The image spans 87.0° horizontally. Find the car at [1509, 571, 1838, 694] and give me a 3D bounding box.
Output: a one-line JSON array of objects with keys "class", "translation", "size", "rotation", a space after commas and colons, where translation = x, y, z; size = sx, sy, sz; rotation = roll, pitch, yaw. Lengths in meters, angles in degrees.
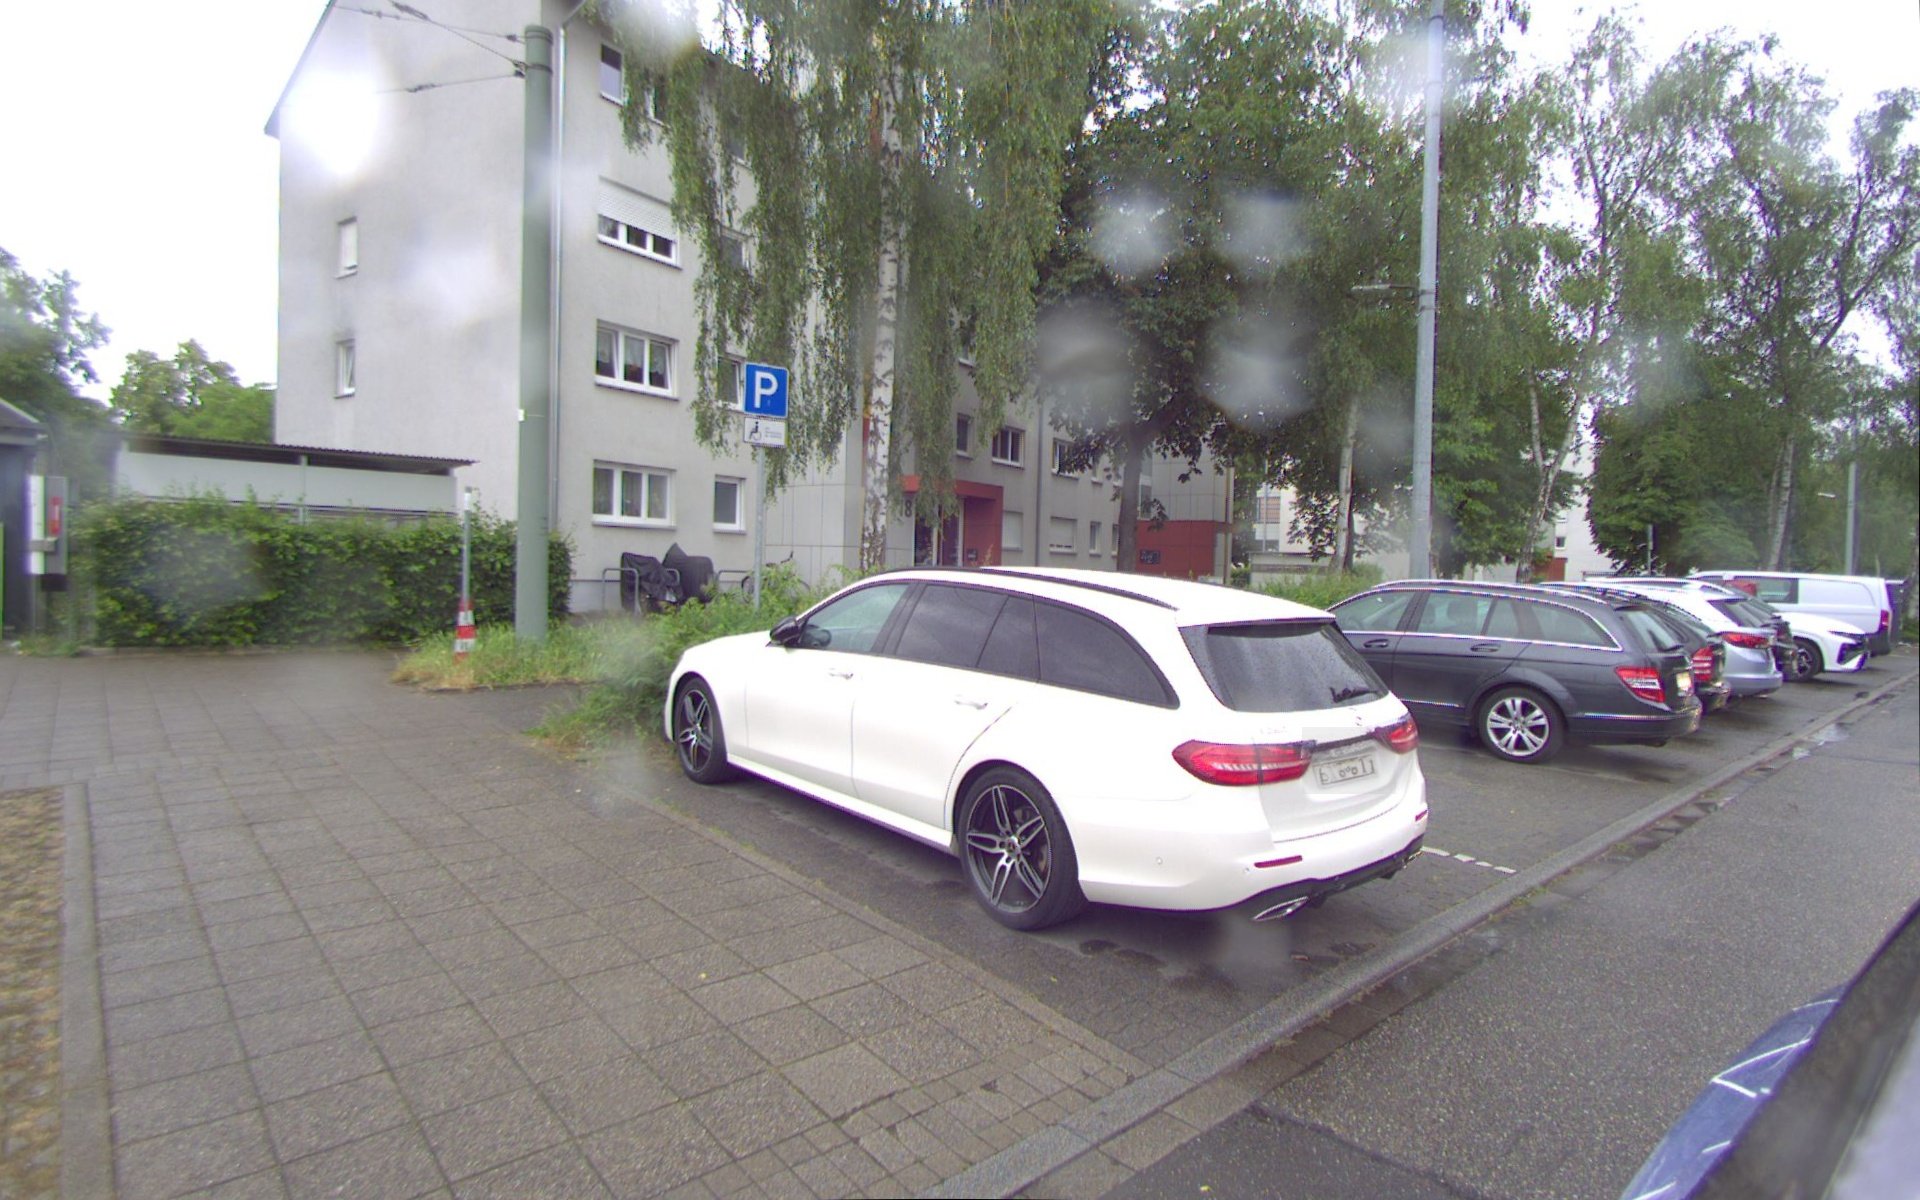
[{"class": "car", "translation": [11.370, 0.403, 16.342], "size": [1.653, 1.514, 4.044], "rotation": [-1, 5, -43]}]

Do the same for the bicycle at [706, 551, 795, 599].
[{"class": "bicycle", "translation": [-4.525, -0.529, 21.974], "size": [0.701, 1.005, 1.918], "rotation": [0, 0, 37]}]

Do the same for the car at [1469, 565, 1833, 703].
[{"class": "car", "translation": [9.858, 0.358, 14.682], "size": [1.653, 1.514, 4.044], "rotation": [-1, 5, -43]}]

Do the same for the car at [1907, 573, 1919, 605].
[{"class": "car", "translation": [53.228, -0.602, 53.788], "size": [1.866, 1.701, 3.998], "rotation": [-1, 1, -36]}]

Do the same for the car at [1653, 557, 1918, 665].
[{"class": "car", "translation": [17.546, 0.142, 21.663], "size": [4.172, 1.888, 1.654], "rotation": [6, 5, 43]}]

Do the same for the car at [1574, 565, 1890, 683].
[{"class": "car", "translation": [13.695, 0.325, 18.176], "size": [1.651, 1.637, 4.181], "rotation": [0, 5, -40]}]

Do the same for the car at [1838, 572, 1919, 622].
[{"class": "car", "translation": [37.754, -0.138, 40.223], "size": [1.866, 1.937, 3.998], "rotation": [-1, 0, -36]}]

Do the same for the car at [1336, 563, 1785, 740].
[{"class": "car", "translation": [6.640, 0.418, 11.537], "size": [1.653, 1.456, 4.044], "rotation": [-1, 5, -43]}]

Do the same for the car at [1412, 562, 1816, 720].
[{"class": "car", "translation": [8.250, 0.386, 13.053], "size": [1.653, 1.514, 4.044], "rotation": [-1, 5, -43]}]

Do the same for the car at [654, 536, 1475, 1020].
[{"class": "car", "translation": [0.079, 0.474, 5.615], "size": [1.651, 1.456, 4.622], "rotation": [-1, 5, -41]}]

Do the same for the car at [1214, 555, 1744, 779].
[{"class": "car", "translation": [4.610, 0.419, 9.460], "size": [1.653, 1.456, 4.044], "rotation": [-1, 5, -43]}]

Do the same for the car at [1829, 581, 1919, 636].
[{"class": "car", "translation": [34.424, 0.283, 36.804], "size": [1.866, 1.937, 3.998], "rotation": [-1, 0, -36]}]
